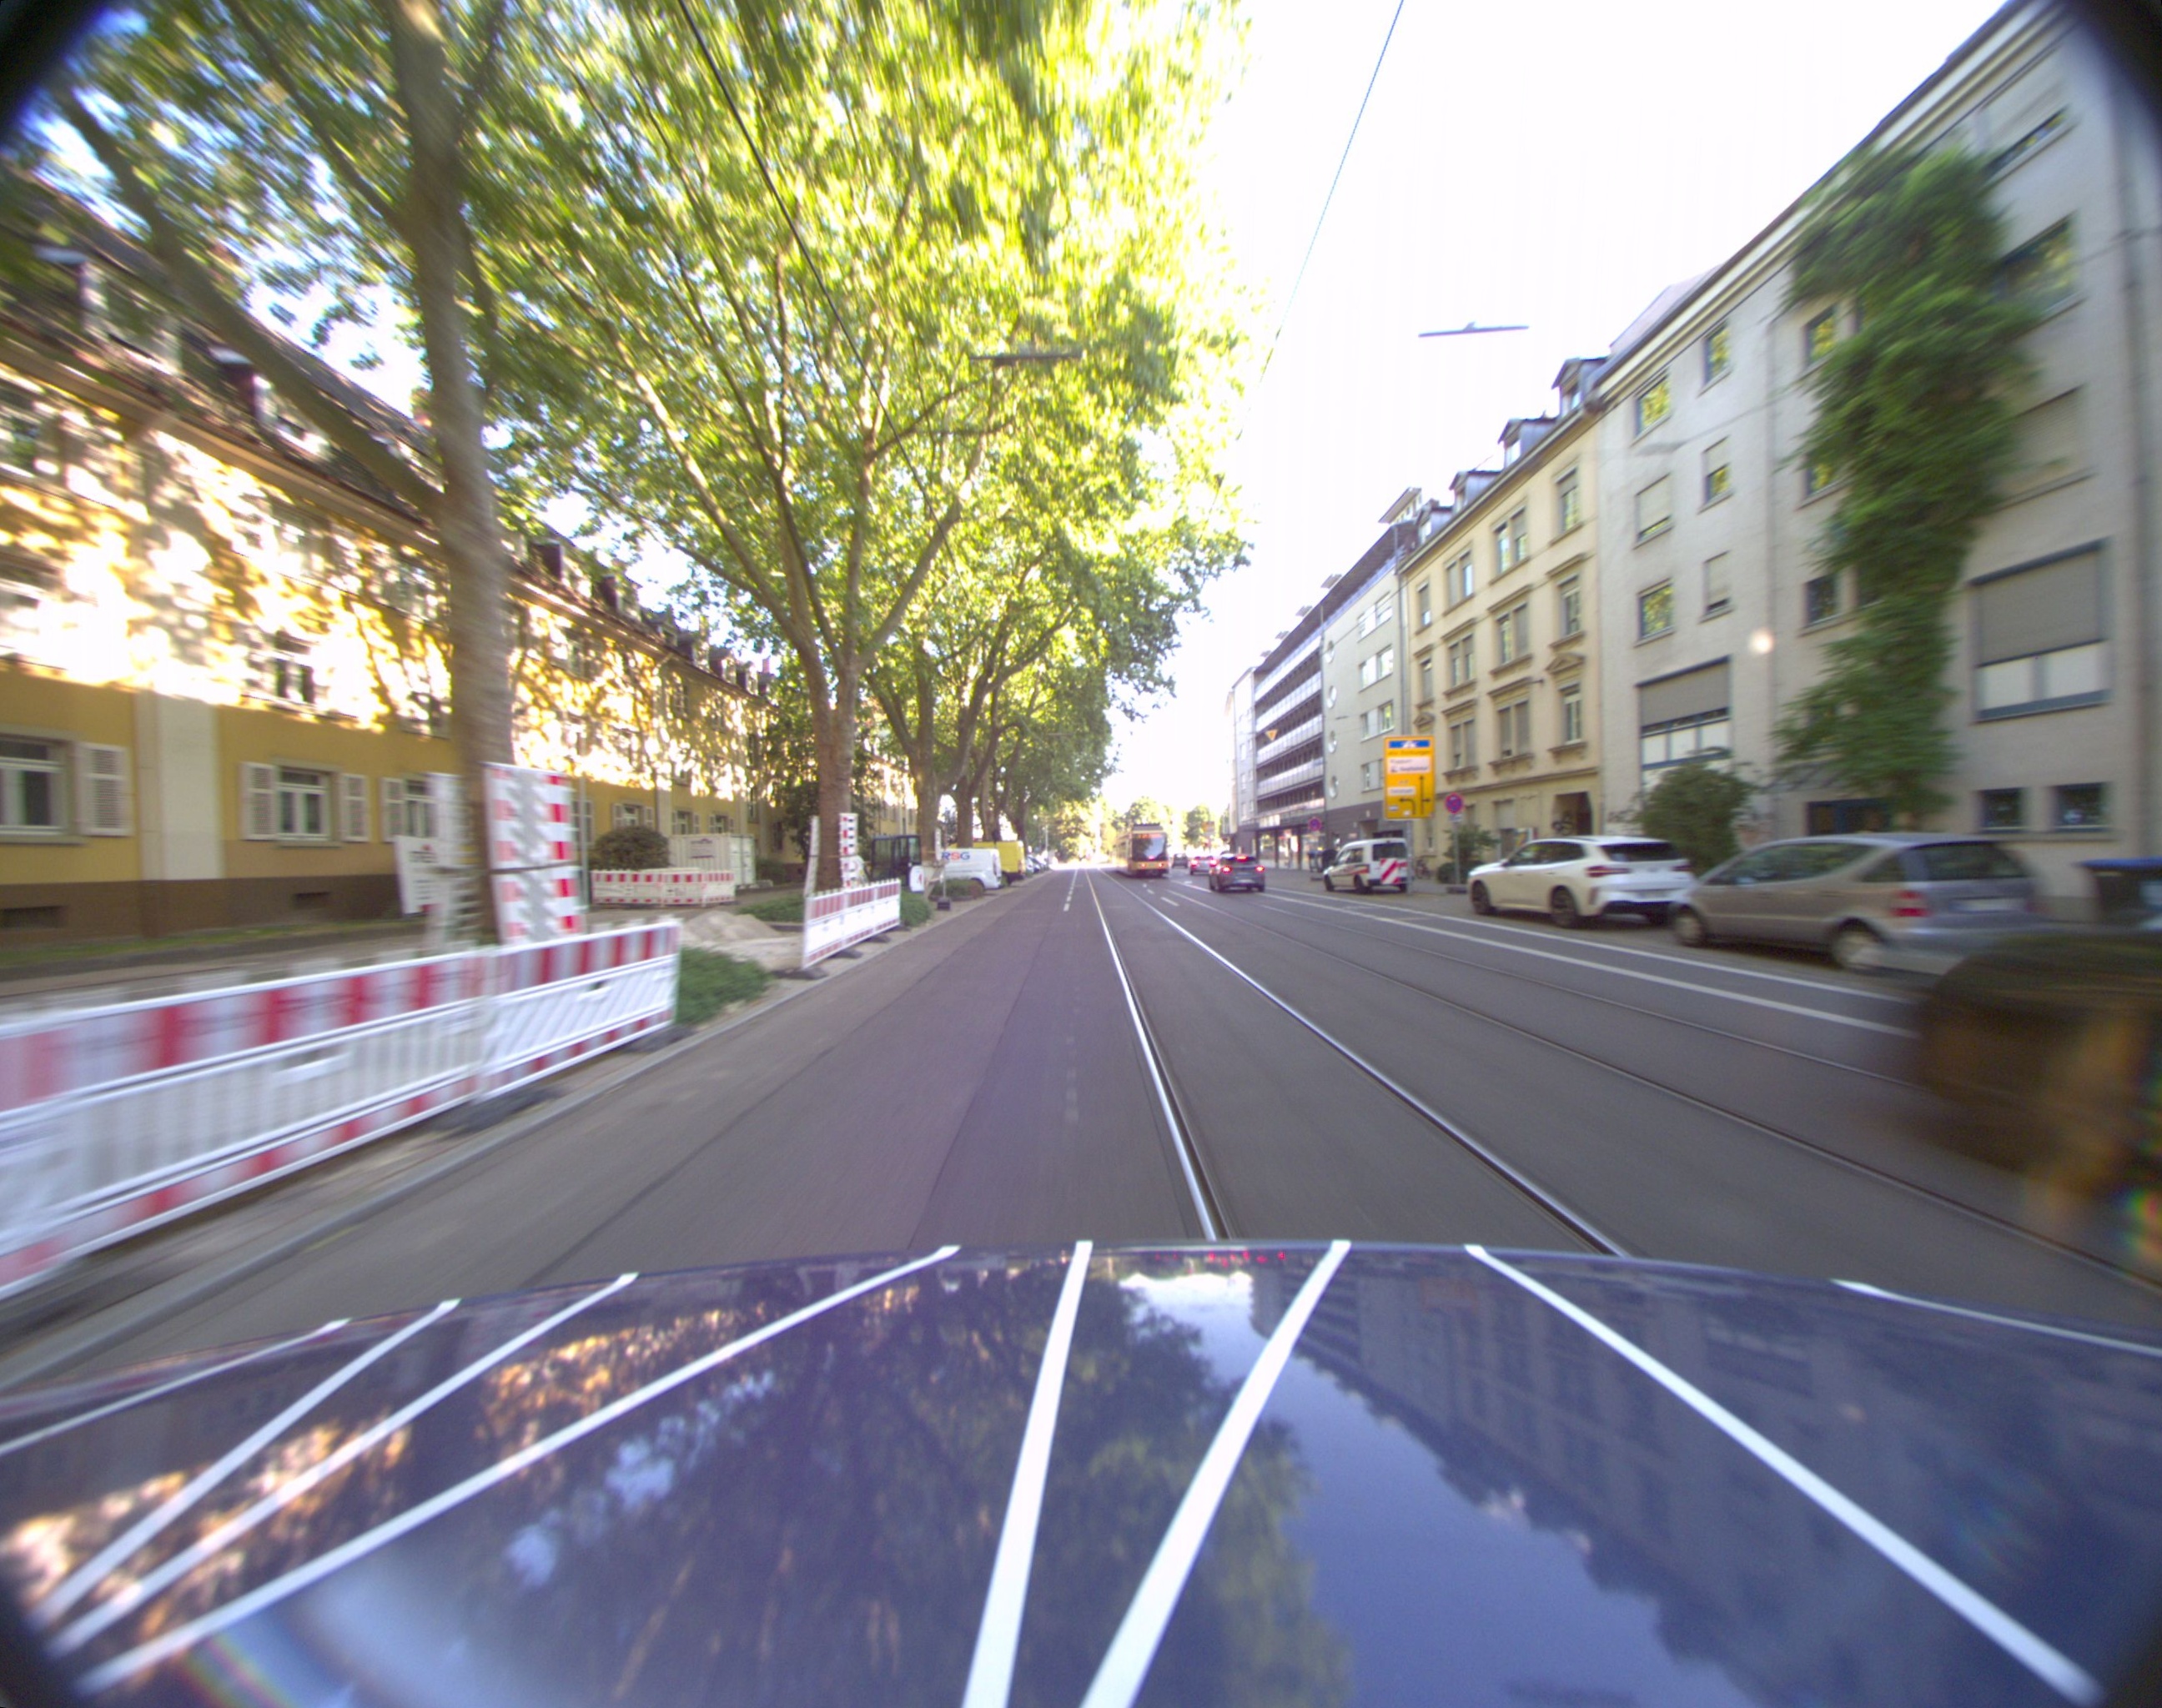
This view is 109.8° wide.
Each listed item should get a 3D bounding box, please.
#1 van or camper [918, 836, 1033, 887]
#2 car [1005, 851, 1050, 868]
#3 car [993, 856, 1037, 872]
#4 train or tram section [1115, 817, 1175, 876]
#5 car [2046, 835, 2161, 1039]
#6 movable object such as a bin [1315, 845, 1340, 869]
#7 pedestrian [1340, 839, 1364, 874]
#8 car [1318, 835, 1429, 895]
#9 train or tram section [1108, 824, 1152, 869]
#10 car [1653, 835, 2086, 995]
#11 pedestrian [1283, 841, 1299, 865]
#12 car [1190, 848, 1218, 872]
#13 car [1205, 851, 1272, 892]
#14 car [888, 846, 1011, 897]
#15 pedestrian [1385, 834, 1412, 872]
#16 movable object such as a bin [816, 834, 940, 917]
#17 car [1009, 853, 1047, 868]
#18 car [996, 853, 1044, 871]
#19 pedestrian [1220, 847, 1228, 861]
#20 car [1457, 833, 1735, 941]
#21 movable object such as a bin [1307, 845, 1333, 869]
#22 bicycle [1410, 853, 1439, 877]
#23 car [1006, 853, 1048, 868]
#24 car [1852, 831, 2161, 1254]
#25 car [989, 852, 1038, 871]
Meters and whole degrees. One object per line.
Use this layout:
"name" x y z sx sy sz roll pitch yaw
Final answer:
"van or camper" -5.769 0.400 42.077 5.940 2.614 2.270 -1 2 2
"car" -6.104 0.605 87.144 5.126 1.845 1.914 0 1 0
"car" -5.779 0.873 67.229 3.660 1.416 1.865 1 0 1
"train or tram section" 4.144 -0.497 52.873 2.916 3.466 14.196 -2 0 0
"car" 9.494 0.642 4.723 1.824 1.577 4.004 -3 1 -2
"movable object such as a bin" 14.925 0.177 45.989 1.059 1.442 1.210 -2 1 -4
"pedestrian" 13.912 0.127 38.983 0.866 1.774 0.736 -3 1 -1
"car" 9.809 0.334 25.917 1.793 1.760 4.469 -3 0 -3
"train or tram section" 4.115 -0.624 66.649 2.916 3.466 13.367 -2 0 0
"car" 9.533 0.595 9.704 1.630 1.563 3.781 -3 1 1
"pedestrian" 15.427 -0.101 55.775 0.789 1.703 0.820 -5 1 0
"car" 8.593 0.408 53.323 1.799 1.438 4.717 -1 3 7
"car" 6.026 0.628 29.548 1.800 1.437 4.052 -1 0 0
"car" -5.522 0.732 32.495 4.847 2.001 2.063 -1 0 0
"pedestrian" 15.808 -0.034 37.863 0.965 1.803 0.729 -4 1 1
"movable object such as a bin" -5.883 0.556 22.326 1.482 2.256 3.283 -1 1 34
"car" -5.492 0.671 79.284 3.891 1.488 1.741 -1 0 -3
"car" -5.825 0.730 72.721 4.437 1.648 1.907 -1 1 -1
"pedestrian" 16.696 0.012 88.702 0.716 1.664 0.905 -1 1 22
"car" 9.542 0.498 14.726 1.957 1.639 4.880 -3 1 -1
"movable object such as a bin" 14.824 0.192 47.220 1.142 1.442 1.213 -2 1 -4
"bicycle" 14.728 0.445 32.631 0.648 0.965 2.140 -3 0 11
"car" -5.803 0.675 82.055 4.411 1.514 1.818 0 0 1
"car" 4.988 0.713 1.773 1.858 1.591 4.463 0 1 0
"car" -6.205 0.701 70.389 4.318 1.721 1.841 0 0 4
